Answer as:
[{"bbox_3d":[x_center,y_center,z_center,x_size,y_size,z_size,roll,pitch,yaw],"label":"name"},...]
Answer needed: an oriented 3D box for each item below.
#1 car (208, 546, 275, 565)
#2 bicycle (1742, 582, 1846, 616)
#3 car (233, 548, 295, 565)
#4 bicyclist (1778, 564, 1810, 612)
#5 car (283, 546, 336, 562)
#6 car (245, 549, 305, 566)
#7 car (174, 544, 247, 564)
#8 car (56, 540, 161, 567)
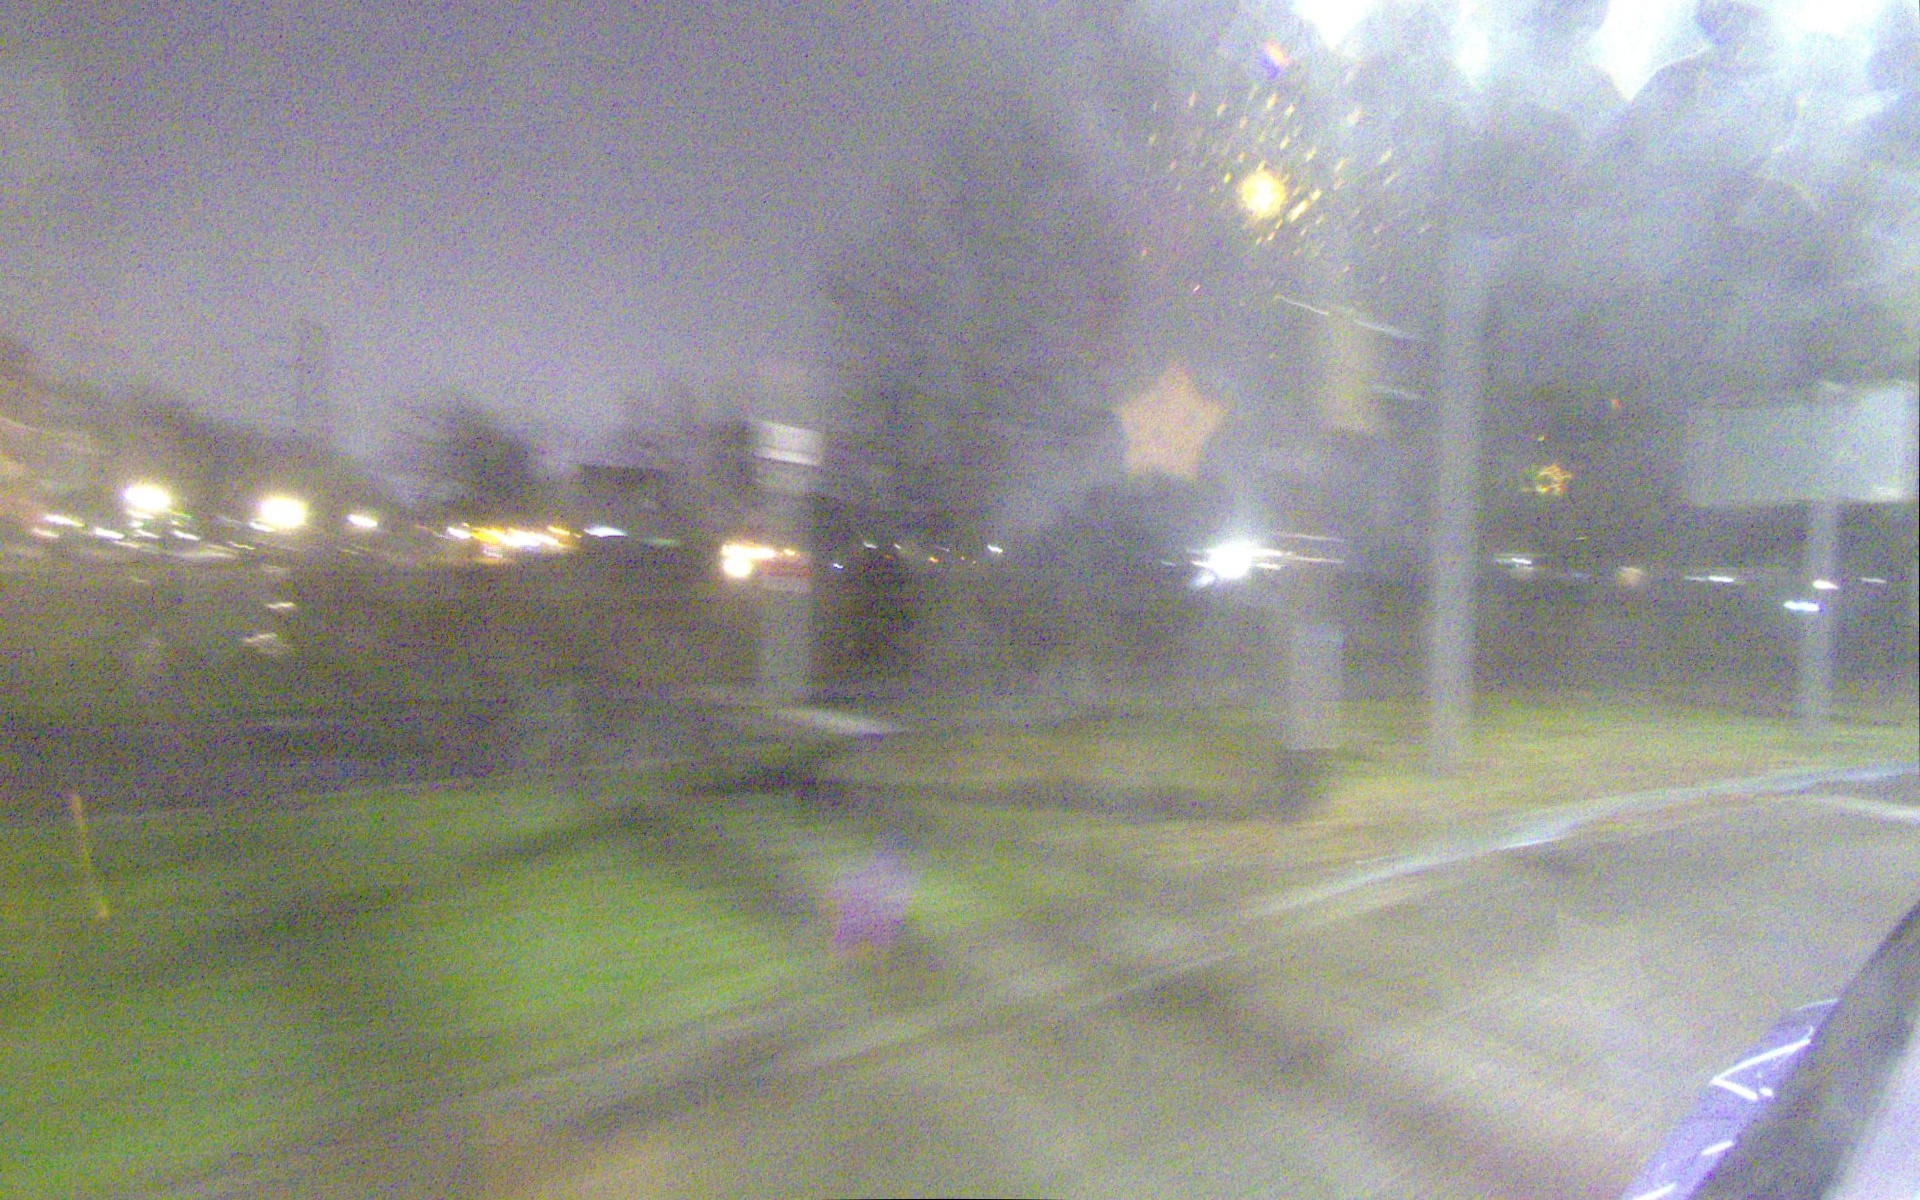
[{"bbox_3d":[-58.269,-3.589,82.147,4.062,1.391,1.726,1,1,-17],"label":"car"},{"bbox_3d":[25.941,-0.054,31.519,0.610,0.989,2.422,0,1,-35],"label":"bicycle"},{"bbox_3d":[-59.492,-3.703,86.576,4.062,1.391,1.726,1,1,-17],"label":"car"},{"bbox_3d":[25.953,-0.385,31.503,0.604,1.465,0.606,0,1,-33],"label":"bicyclist"},{"bbox_3d":[-63.600,-4.508,98.974,4.062,1.391,1.726,1,1,-17],"label":"car"},{"bbox_3d":[-60.537,-3.782,89.525,4.062,1.391,1.726,1,1,-17],"label":"car"},{"bbox_3d":[-56.680,-3.446,76.592,4.062,1.391,1.726,1,1,-17],"label":"car"},{"bbox_3d":[-54.597,-2.963,64.973,4.890,1.555,1.726,1,1,-17],"label":"car"}]
